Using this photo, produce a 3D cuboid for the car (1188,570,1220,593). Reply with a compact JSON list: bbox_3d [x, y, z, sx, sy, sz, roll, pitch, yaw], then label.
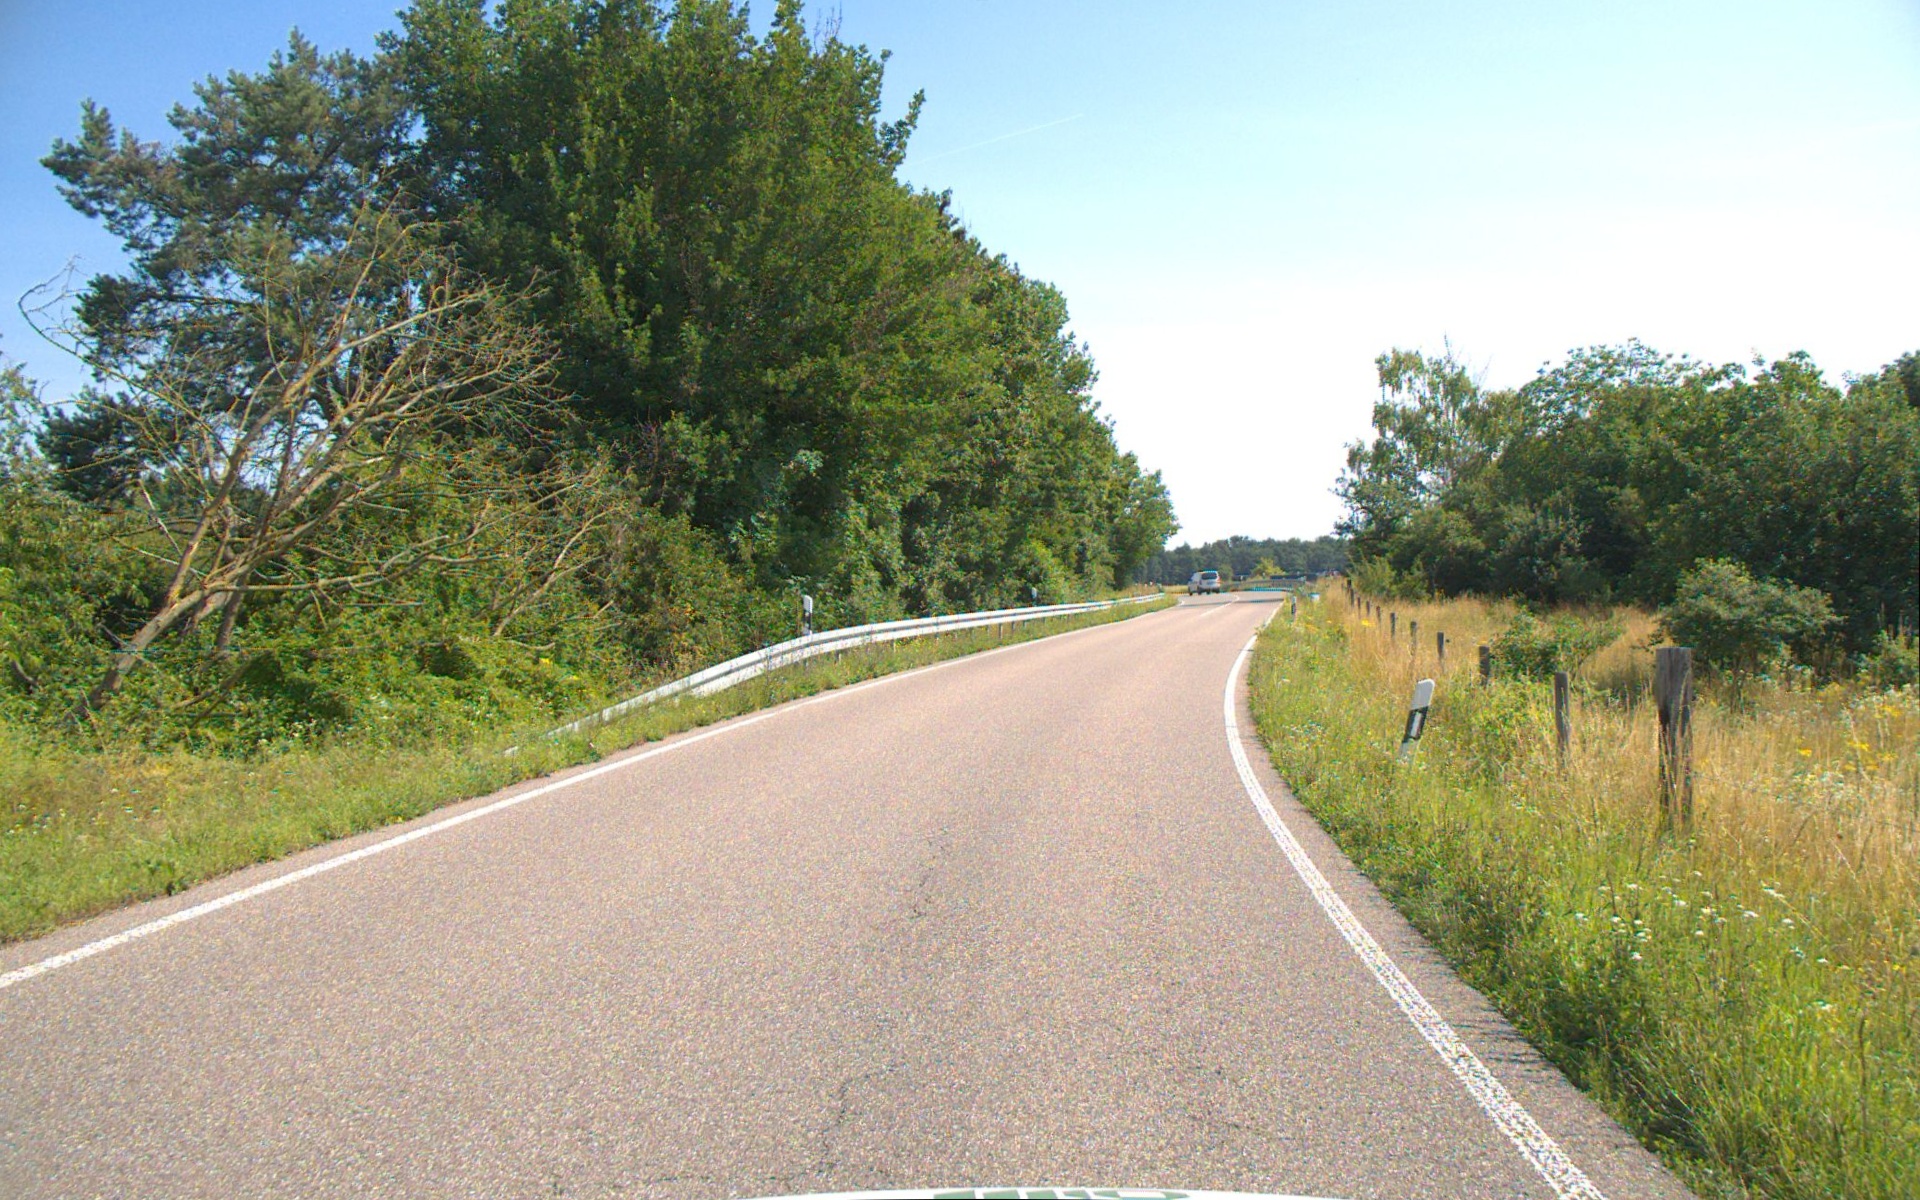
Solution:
[{"bbox_3d":[21.174,-1.590,143.605,1.923,1.834,4.157,0,-1,-4],"label":"car"}]
